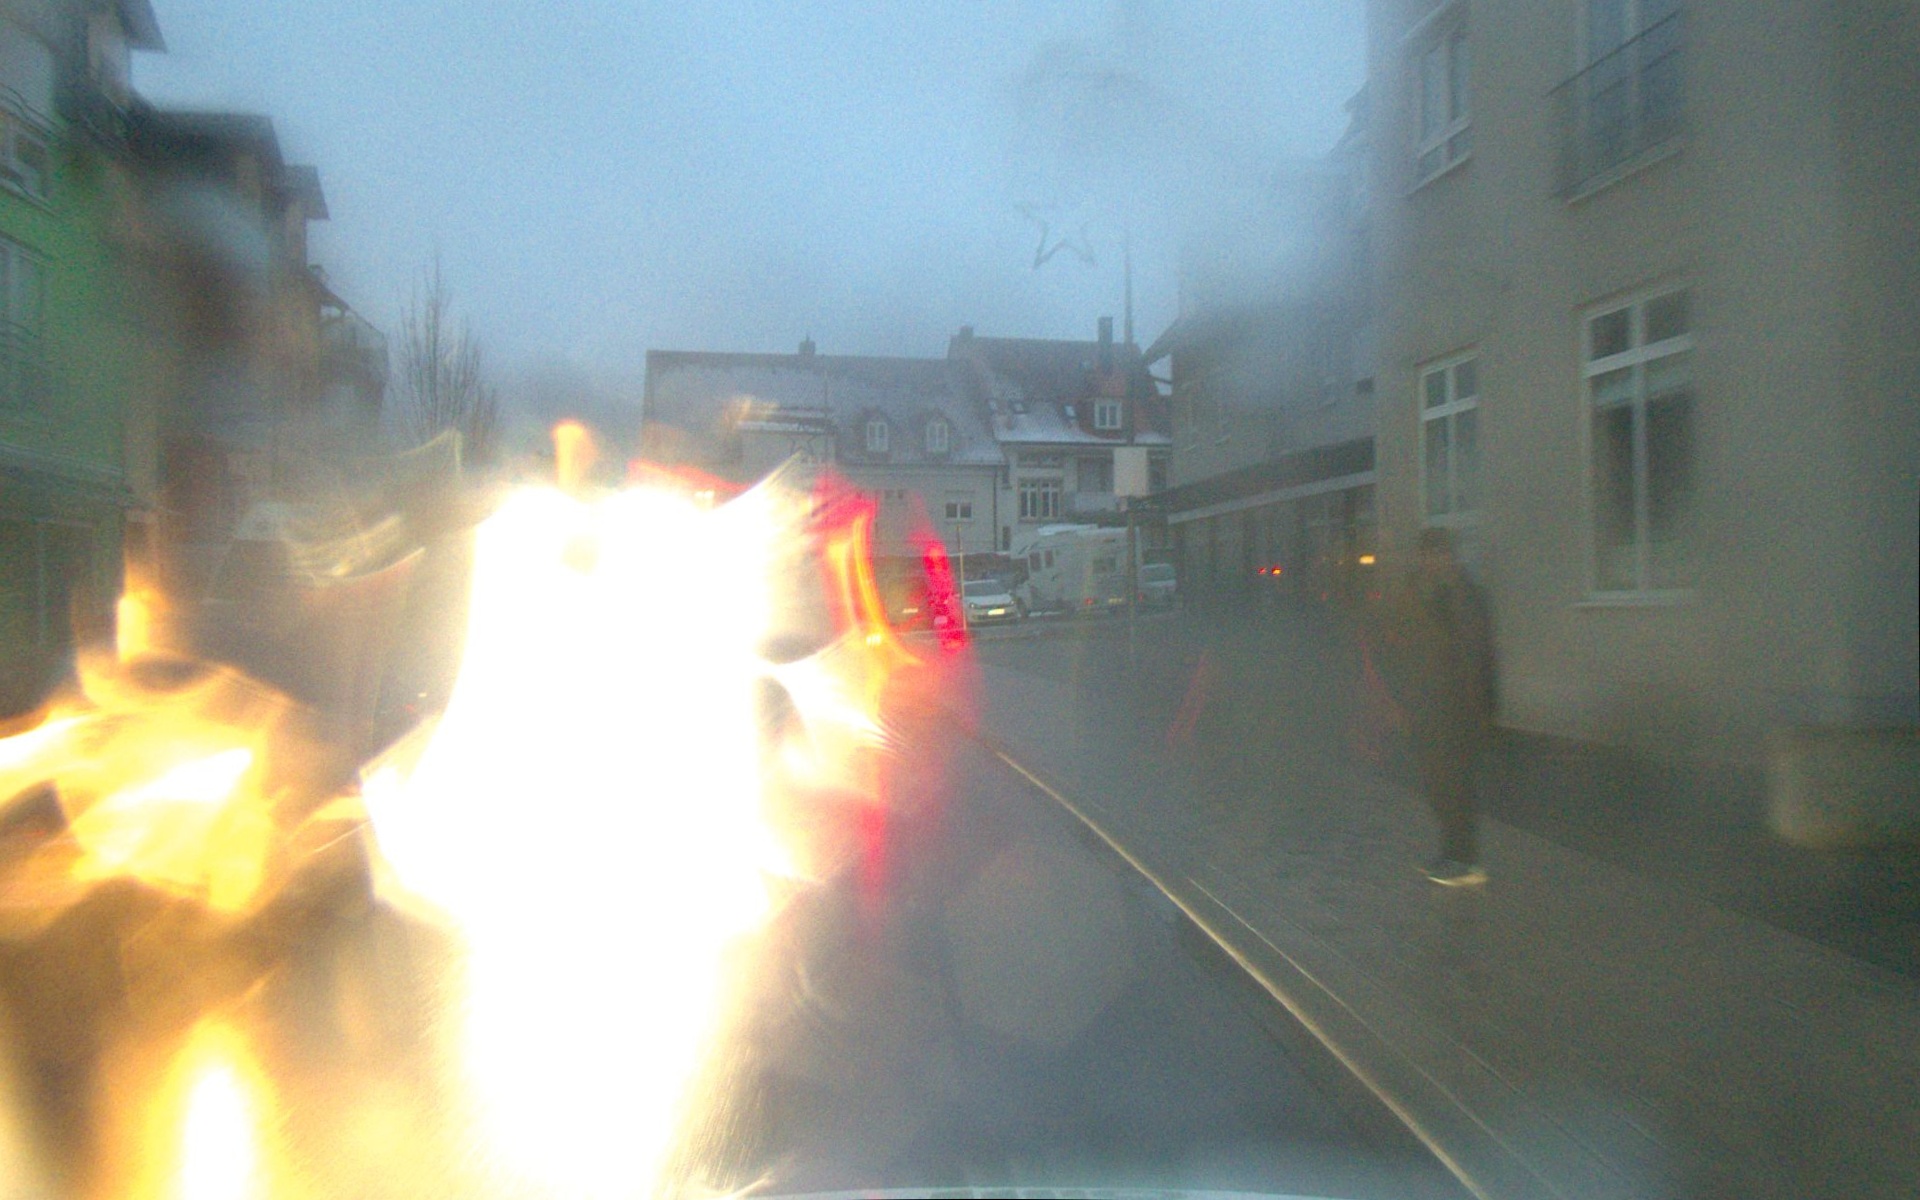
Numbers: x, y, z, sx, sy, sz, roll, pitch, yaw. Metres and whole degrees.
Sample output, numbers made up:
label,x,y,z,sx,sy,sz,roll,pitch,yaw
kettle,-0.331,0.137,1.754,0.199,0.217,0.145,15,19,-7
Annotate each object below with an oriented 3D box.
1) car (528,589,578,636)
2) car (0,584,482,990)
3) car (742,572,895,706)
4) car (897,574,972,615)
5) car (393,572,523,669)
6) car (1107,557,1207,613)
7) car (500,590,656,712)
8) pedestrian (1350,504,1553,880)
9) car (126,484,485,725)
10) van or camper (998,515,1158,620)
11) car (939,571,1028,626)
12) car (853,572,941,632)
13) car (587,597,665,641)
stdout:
label,x,y,z,sx,sy,sz,roll,pitch,yaw
car,-20.020,0.586,81.271,1.964,2.241,3.976,0,0,-20
car,-4.010,0.747,8.849,1.955,1.583,4.254,-1,1,-5
car,-1.813,0.457,21.369,1.779,1.560,3.996,0,0,-5
car,-1.048,-0.246,65.791,1.794,1.487,4.527,-3,1,-17
car,-10.555,0.402,35.141,1.957,1.876,5.291,1,0,-10
car,6.411,-0.490,54.335,1.760,1.580,3.983,-7,2,-16
car,-5.657,0.705,24.964,1.882,1.592,4.218,-2,0,-8
pedestrian,2.418,0.423,8.224,0.730,1.759,0.872,-1,1,-1
car,-8.099,0.080,21.432,2.437,2.605,6.754,1,-1,-5
van or camper,3.778,-1.031,54.636,2.613,3.100,6.693,-4,1,-20
car,0.719,-0.014,53.950,1.959,1.639,4.161,-3,0,-12
car,-2.092,0.050,53.671,1.960,1.795,4.334,-3,1,-14
car,-12.642,0.691,62.405,1.969,1.616,3.967,0,0,-26
